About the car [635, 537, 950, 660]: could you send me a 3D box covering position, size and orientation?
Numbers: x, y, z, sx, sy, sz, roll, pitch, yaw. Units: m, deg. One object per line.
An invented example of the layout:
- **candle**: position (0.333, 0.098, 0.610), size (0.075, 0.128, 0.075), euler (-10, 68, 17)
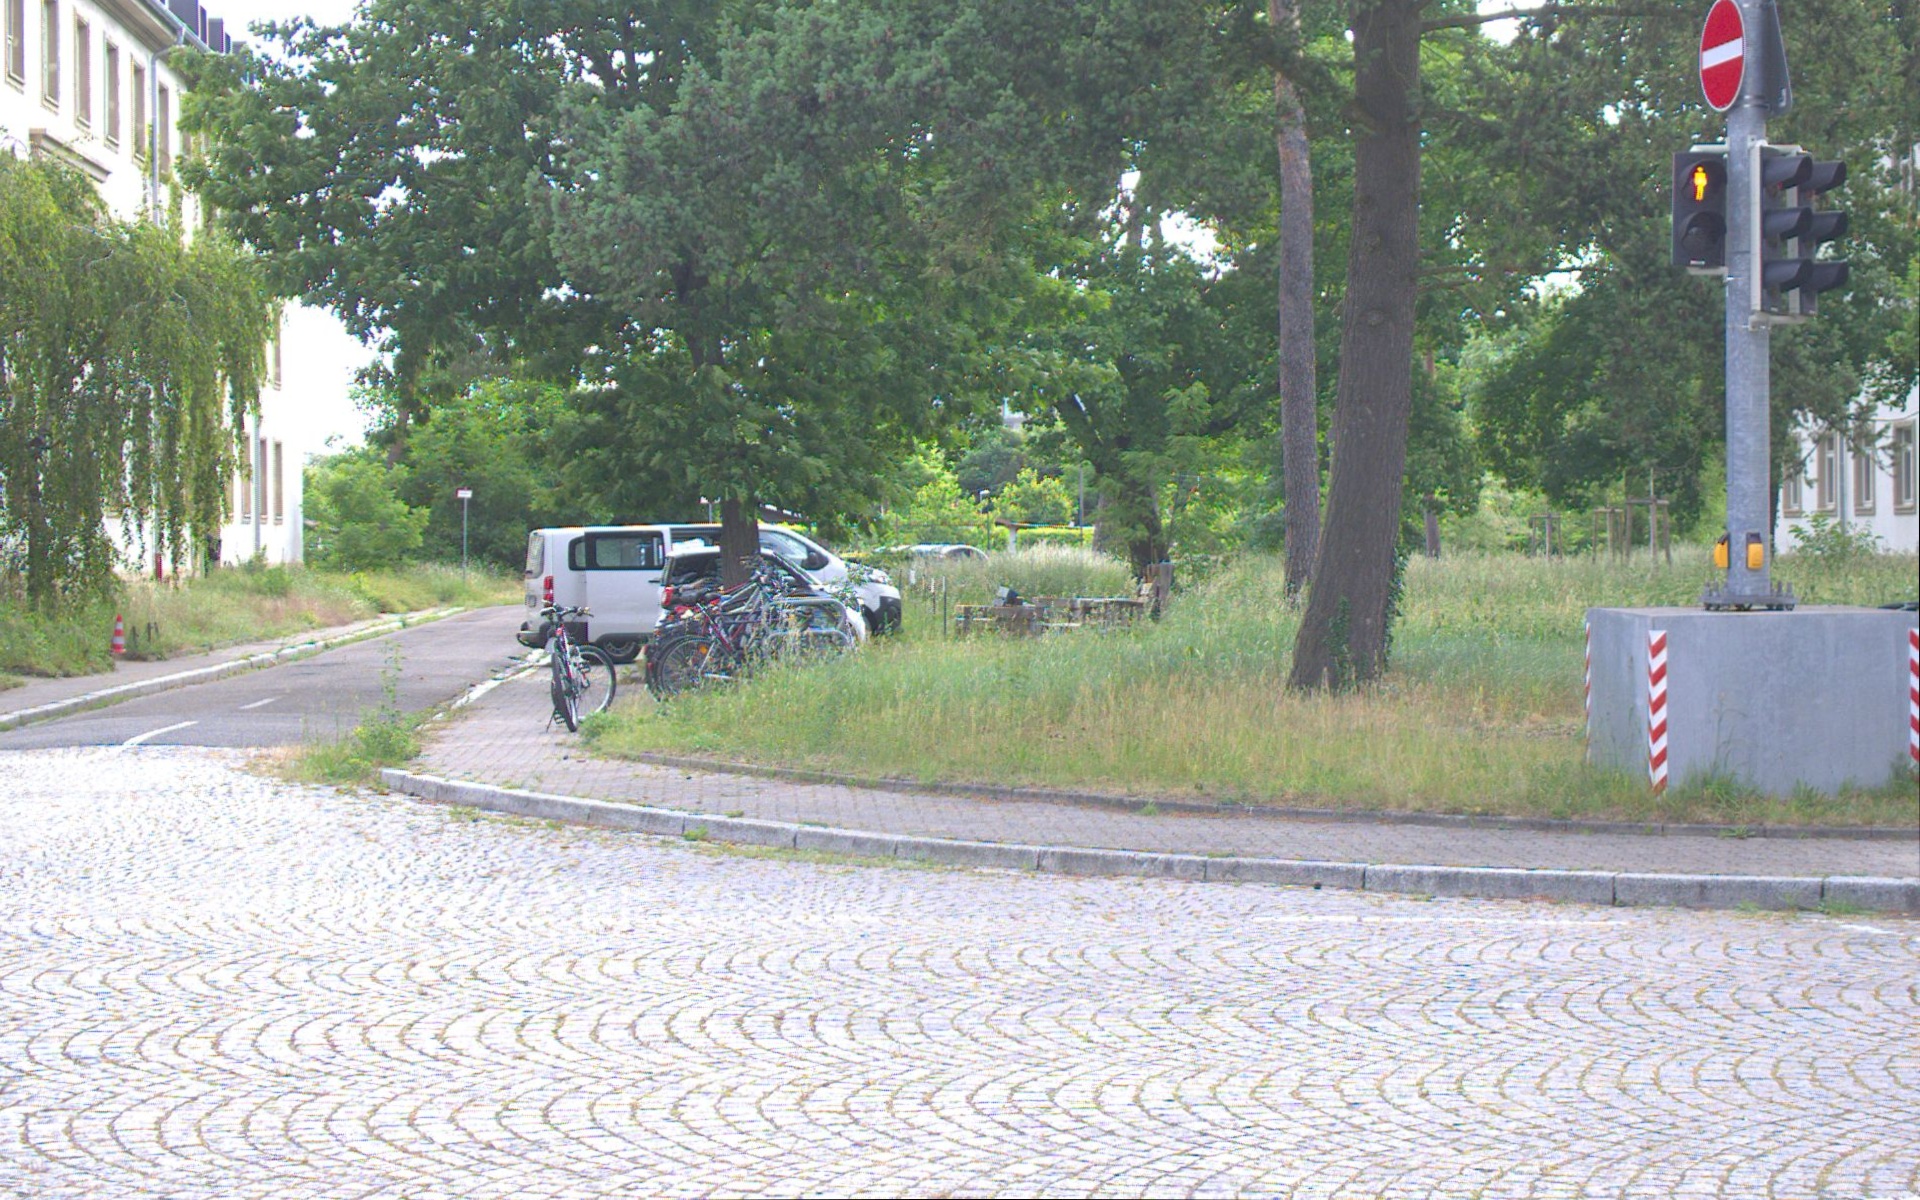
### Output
- **car**: position (-2.213, -0.044, 44.734), size (3.931, 1.539, 2.001), euler (0, 1, -8)

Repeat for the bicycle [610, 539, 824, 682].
- **bicycle**: position (-2.379, 0.096, 33.819), size (2.069, 1.373, 0.620), euler (0, 1, -3)

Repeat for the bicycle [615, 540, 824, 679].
- **bicycle**: position (-2.412, 0.089, 34.565), size (2.069, 1.373, 0.620), euler (0, 1, -3)

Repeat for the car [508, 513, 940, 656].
- **car**: position (-3.317, -0.245, 48.050), size (5.690, 1.904, 2.231), euler (-1, 1, -15)

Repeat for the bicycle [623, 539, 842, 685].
- **bicycle**: position (-2.182, 0.107, 33.090), size (2.069, 1.373, 0.620), euler (0, 1, -3)

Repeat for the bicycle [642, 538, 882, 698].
- **bicycle**: position (-1.736, 0.149, 30.218), size (2.069, 1.373, 0.620), euler (0, 1, -3)

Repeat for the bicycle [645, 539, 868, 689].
- **bicycle**: position (-1.906, 0.124, 32.304), size (2.069, 1.373, 0.620), euler (0, 1, -3)

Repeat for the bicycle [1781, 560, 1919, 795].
- **bicycle**: position (5.109, 0.379, 18.281), size (0.908, 1.173, 1.875), euler (0, 1, -4)

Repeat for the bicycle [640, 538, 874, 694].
- **bicycle**: position (-1.821, 0.140, 30.885), size (2.069, 1.373, 0.620), euler (0, 1, -3)

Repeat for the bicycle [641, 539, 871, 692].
- **bicycle**: position (-1.864, 0.133, 31.508), size (2.069, 1.373, 0.620), euler (0, 1, -3)

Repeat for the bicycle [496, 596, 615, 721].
- **bicycle**: position (-3.316, 0.464, 28.342), size (0.618, 0.960, 2.076), euler (0, 1, 3)
